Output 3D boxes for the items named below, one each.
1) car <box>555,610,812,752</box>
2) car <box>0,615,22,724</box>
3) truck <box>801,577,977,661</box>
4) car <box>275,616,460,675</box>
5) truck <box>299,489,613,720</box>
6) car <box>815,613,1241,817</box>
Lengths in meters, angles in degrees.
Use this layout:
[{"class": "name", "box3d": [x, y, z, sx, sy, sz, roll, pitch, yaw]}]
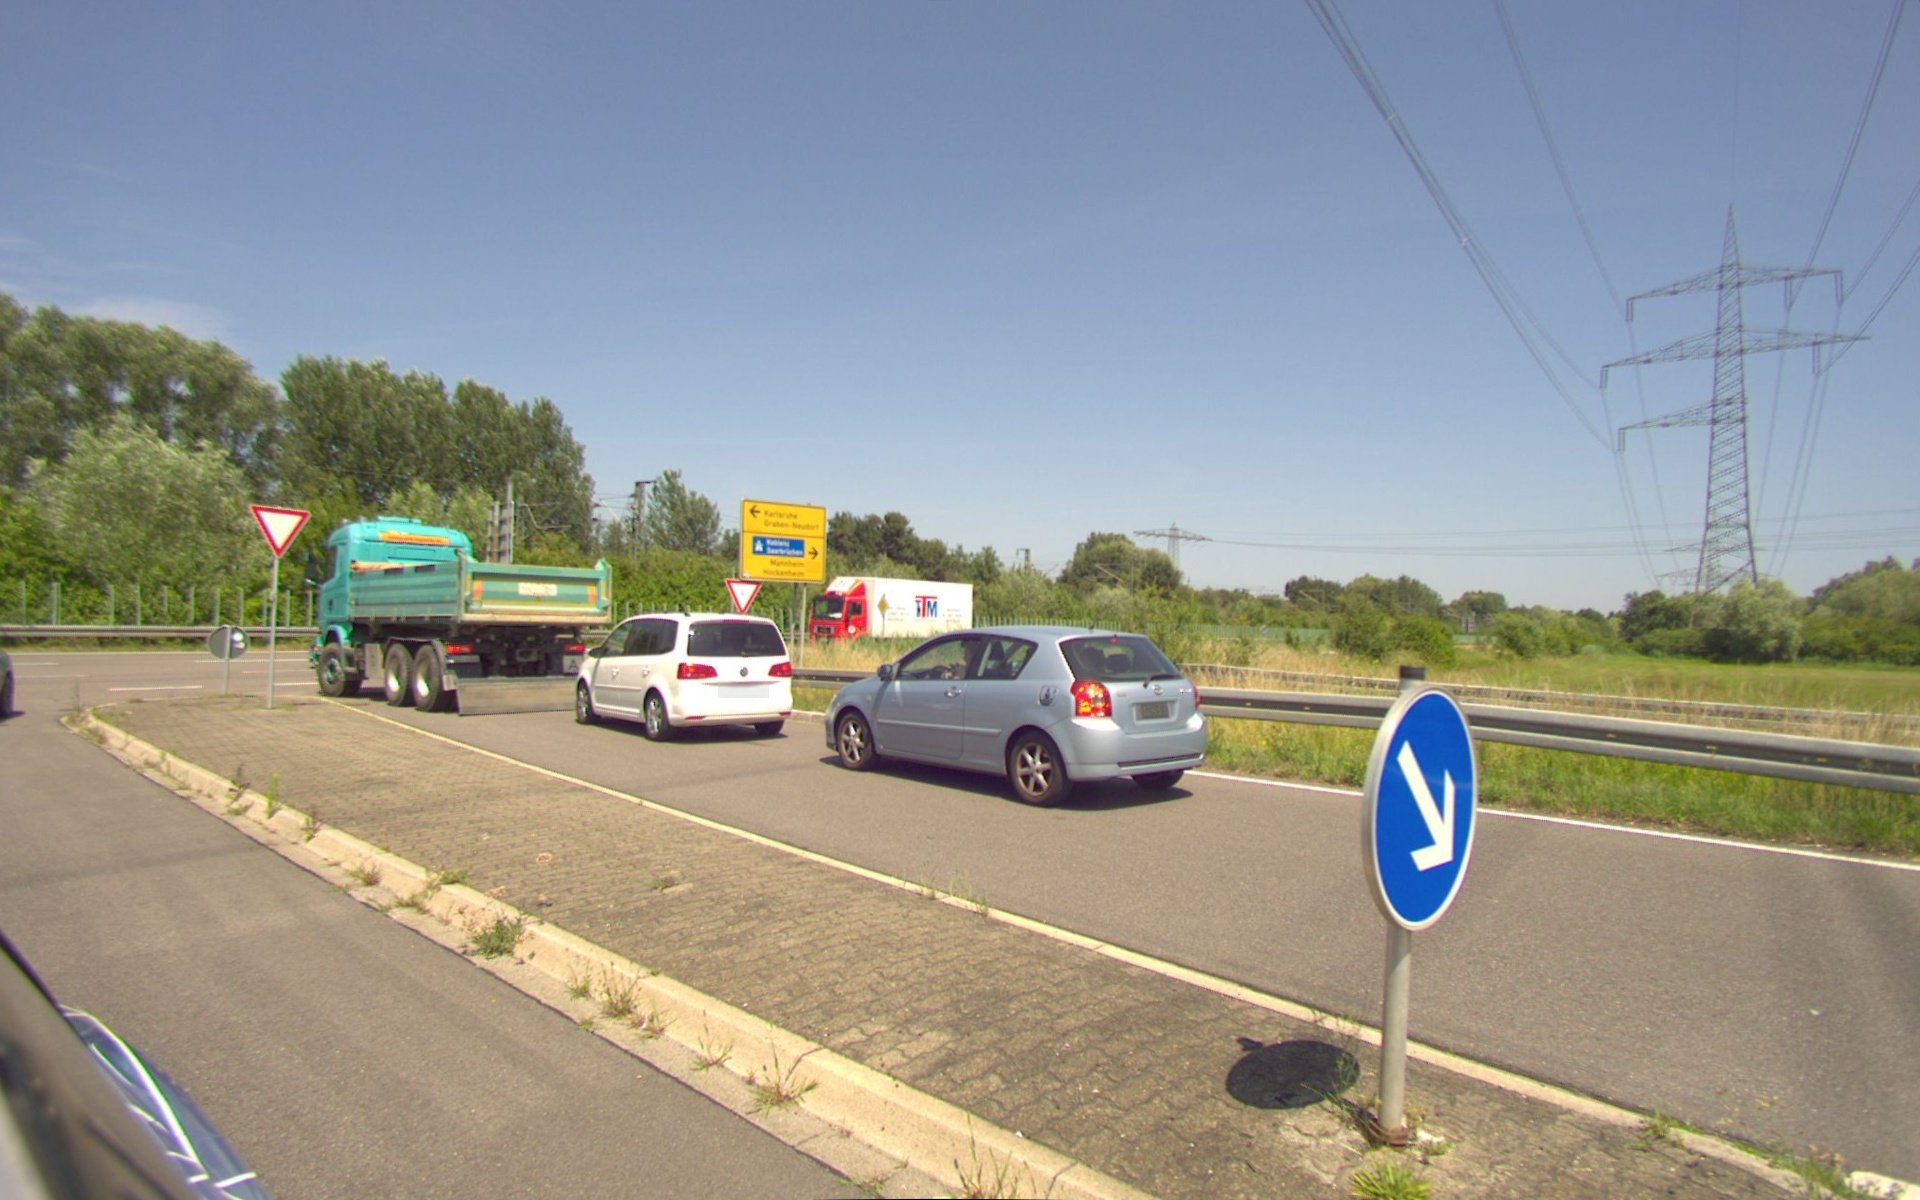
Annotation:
[{"class": "car", "box3d": [-3.940, 0.996, 13.925, 1.750, 1.633, 4.337, 0, -2, -40]}, {"class": "car", "box3d": [-13.376, 0.920, 12.489, 1.794, 1.498, 4.161, 2, -2, -31]}, {"class": "truck", "box3d": [-3.131, 0.847, 47.958, 2.722, 3.606, 9.432, -1, -1, 38]}, {"class": "car", "box3d": [-16.711, 1.278, 28.732, 1.822, 1.450, 4.099, 3, 0, 35]}, {"class": "truck", "box3d": [-9.618, 0.172, 18.822, 7.608, 3.498, 2.574, -1, -3, 42]}, {"class": "car", "box3d": [0.421, 0.900, 9.387, 1.611, 1.471, 4.014, 2, -3, -40]}]
